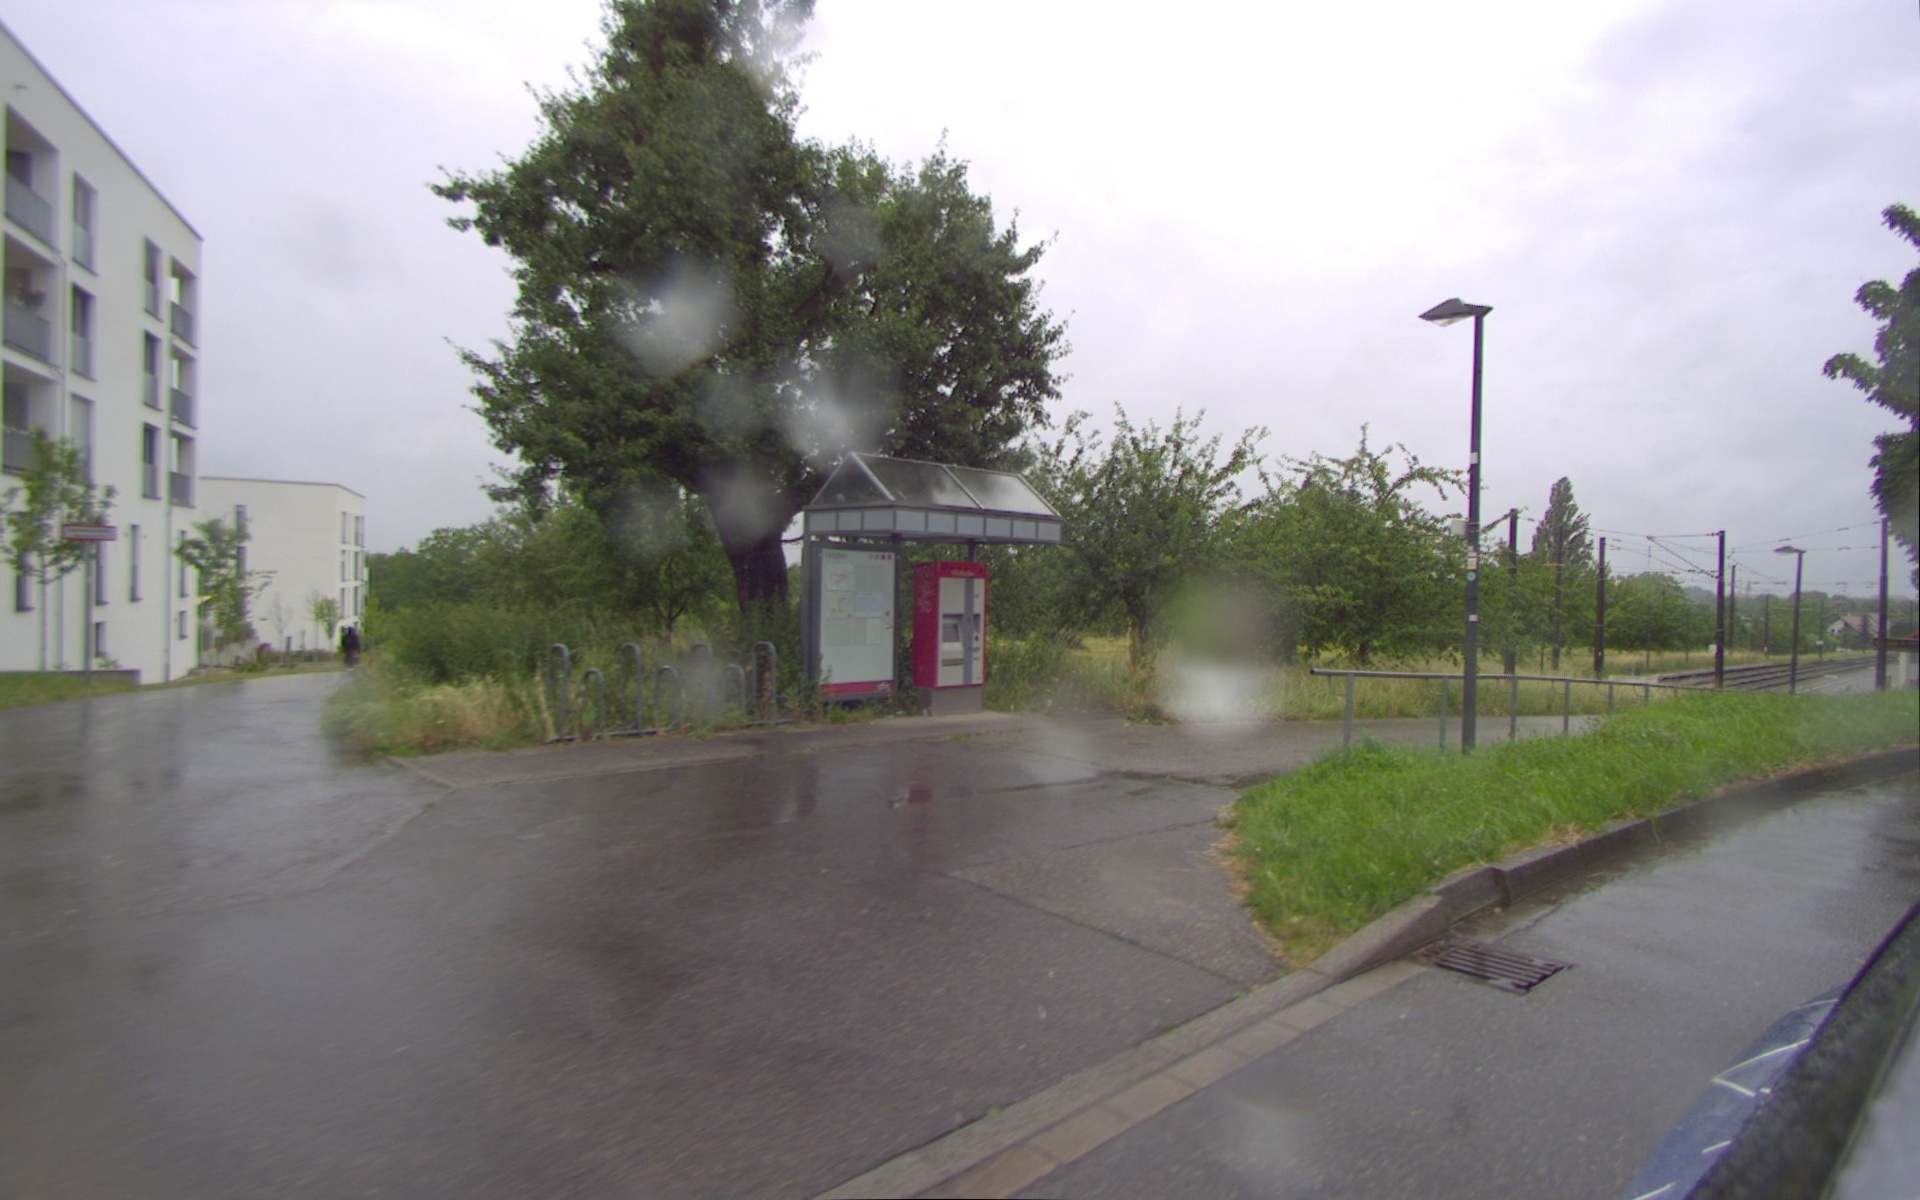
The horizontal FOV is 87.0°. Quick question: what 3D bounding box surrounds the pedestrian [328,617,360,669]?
[{"bbox_3d":[-22.108,1.537,36.345,0.875,1.807,0.891,2,-1,-27],"label":"pedestrian"}]
